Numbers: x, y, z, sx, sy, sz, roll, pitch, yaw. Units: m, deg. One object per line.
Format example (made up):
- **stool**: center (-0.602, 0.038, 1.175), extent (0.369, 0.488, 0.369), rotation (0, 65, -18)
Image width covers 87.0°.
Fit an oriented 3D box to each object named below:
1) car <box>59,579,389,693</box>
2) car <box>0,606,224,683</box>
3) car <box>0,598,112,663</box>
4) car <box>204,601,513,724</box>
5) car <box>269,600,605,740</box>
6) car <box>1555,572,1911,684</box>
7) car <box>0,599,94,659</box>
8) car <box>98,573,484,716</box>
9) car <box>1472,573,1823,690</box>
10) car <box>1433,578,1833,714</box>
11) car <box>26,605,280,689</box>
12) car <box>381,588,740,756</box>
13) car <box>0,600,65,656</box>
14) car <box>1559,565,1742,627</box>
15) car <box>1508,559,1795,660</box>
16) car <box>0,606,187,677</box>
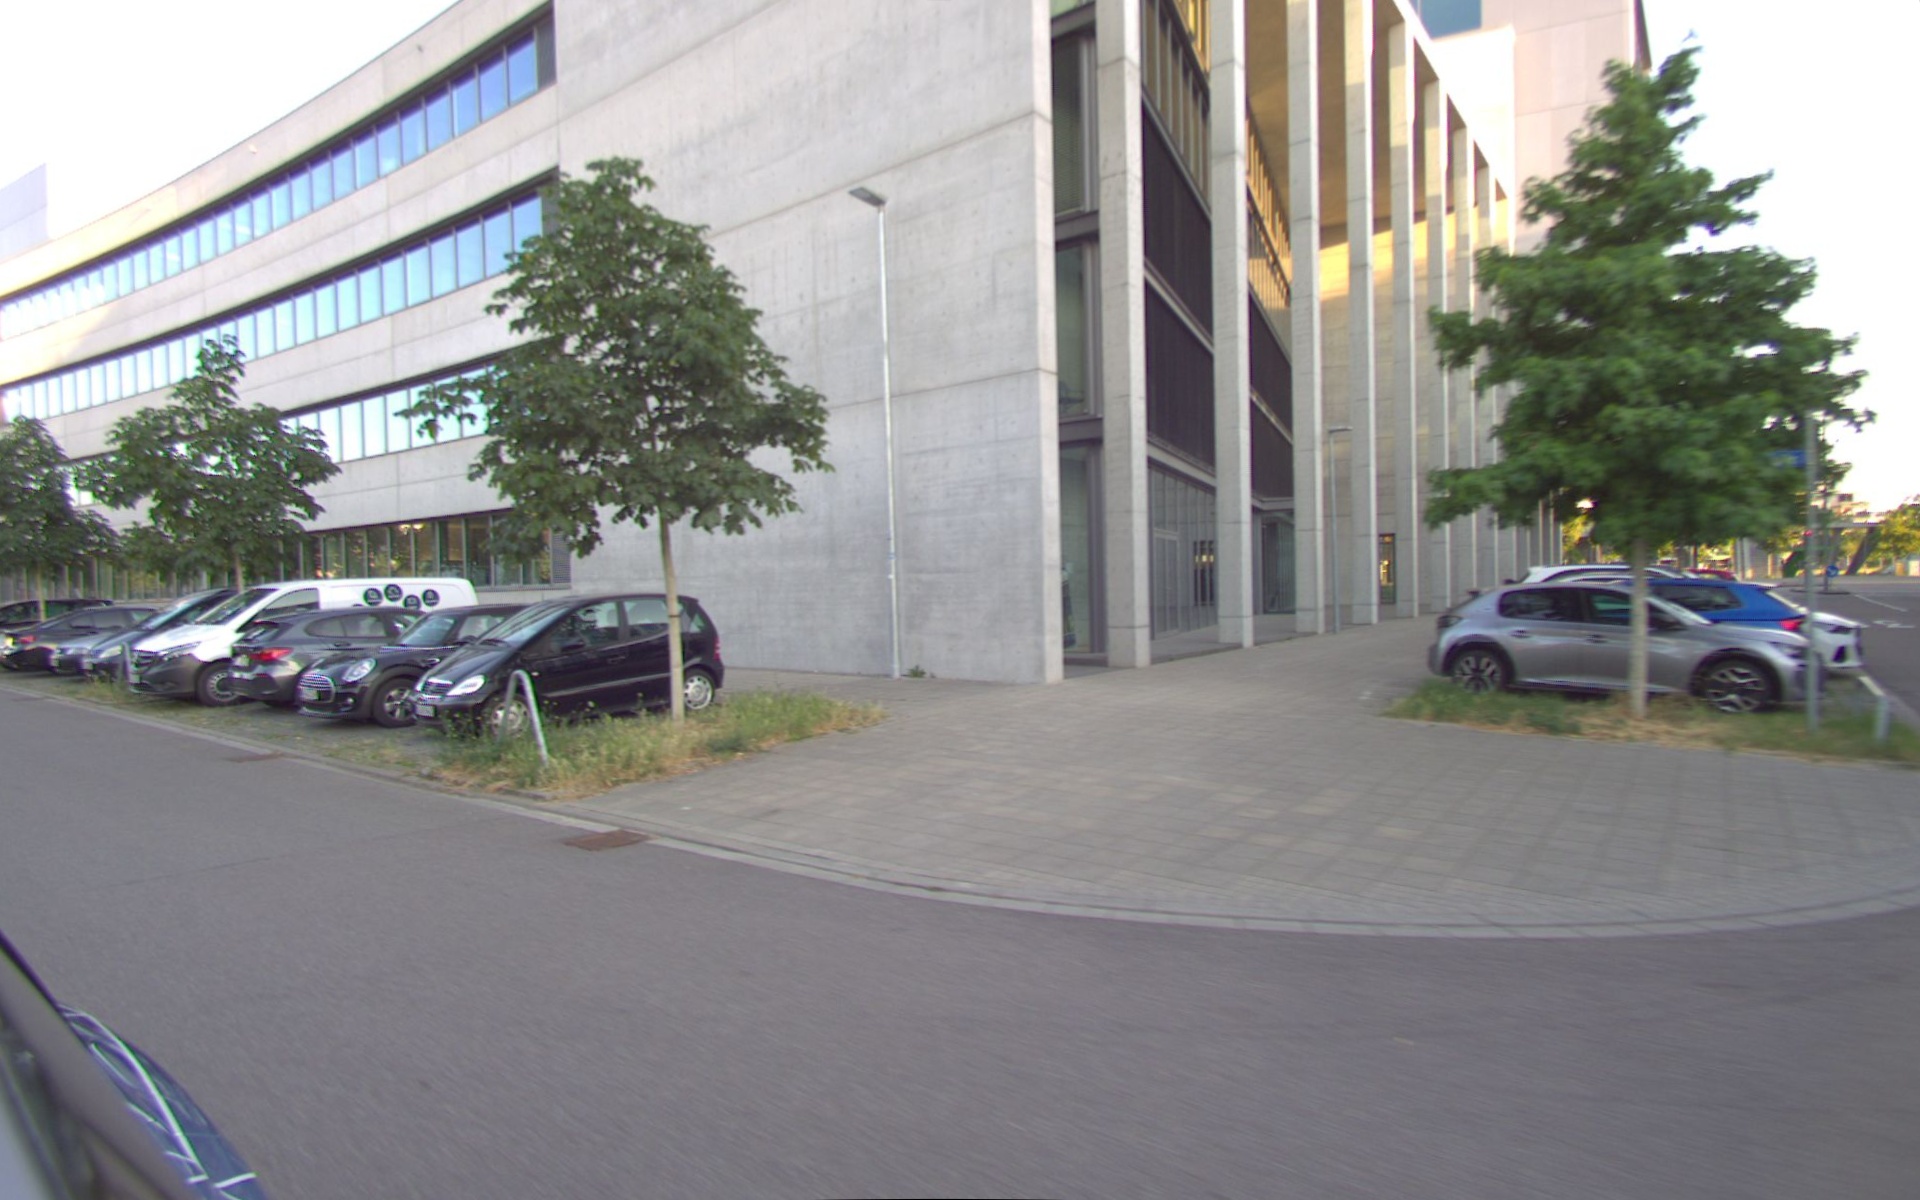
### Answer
- **car**: center (-14.648, 0.615, 20.478), extent (1.885, 1.841, 5.024), rotation (-1, 2, 36)
- **car**: center (-19.071, 0.933, 22.686), extent (1.796, 1.370, 3.768), rotation (-1, 2, 36)
- **car**: center (-25.830, 0.852, 27.409), extent (1.793, 1.595, 3.988), rotation (-2, 2, 30)
- **car**: center (-8.981, 0.839, 15.314), extent (1.724, 1.435, 3.609), rotation (-1, 2, 40)
- **car**: center (-6.920, 0.826, 13.656), extent (1.725, 1.435, 3.608), rotation (-1, 2, 41)
- **car**: center (11.552, 0.335, 15.462), extent (4.128, 1.503, 1.630), rotation (1, 2, 36)
- **car**: center (-27.895, 0.889, 29.208), extent (1.793, 1.595, 3.988), rotation (-2, 2, 30)
- **car**: center (-11.004, 0.607, 17.076), extent (1.885, 1.895, 5.024), rotation (-1, 2, 36)
- **car**: center (9.478, 0.355, 14.232), extent (3.896, 1.439, 1.543), rotation (1, 2, 36)
- **car**: center (7.955, 0.447, 12.264), extent (3.811, 1.396, 1.630), rotation (1, 2, 36)
- **car**: center (-16.750, 0.907, 21.163), extent (1.796, 1.370, 3.768), rotation (-1, 2, 36)
- **car**: center (-4.706, 0.733, 12.274), extent (1.725, 1.559, 3.608), rotation (-1, 2, 41)
- **car**: center (-29.806, 0.918, 30.382), extent (1.793, 1.595, 3.988), rotation (-2, 2, 30)
- **car**: center (17.978, -0.139, 26.485), extent (3.850, 1.517, 1.630), rotation (1, 2, 36)
- **car**: center (12.352, 0.116, 18.326), extent (4.128, 1.640, 1.630), rotation (1, 2, 36)
- **car**: center (-21.069, 0.958, 24.170), extent (1.796, 1.370, 3.768), rotation (-1, 2, 36)
